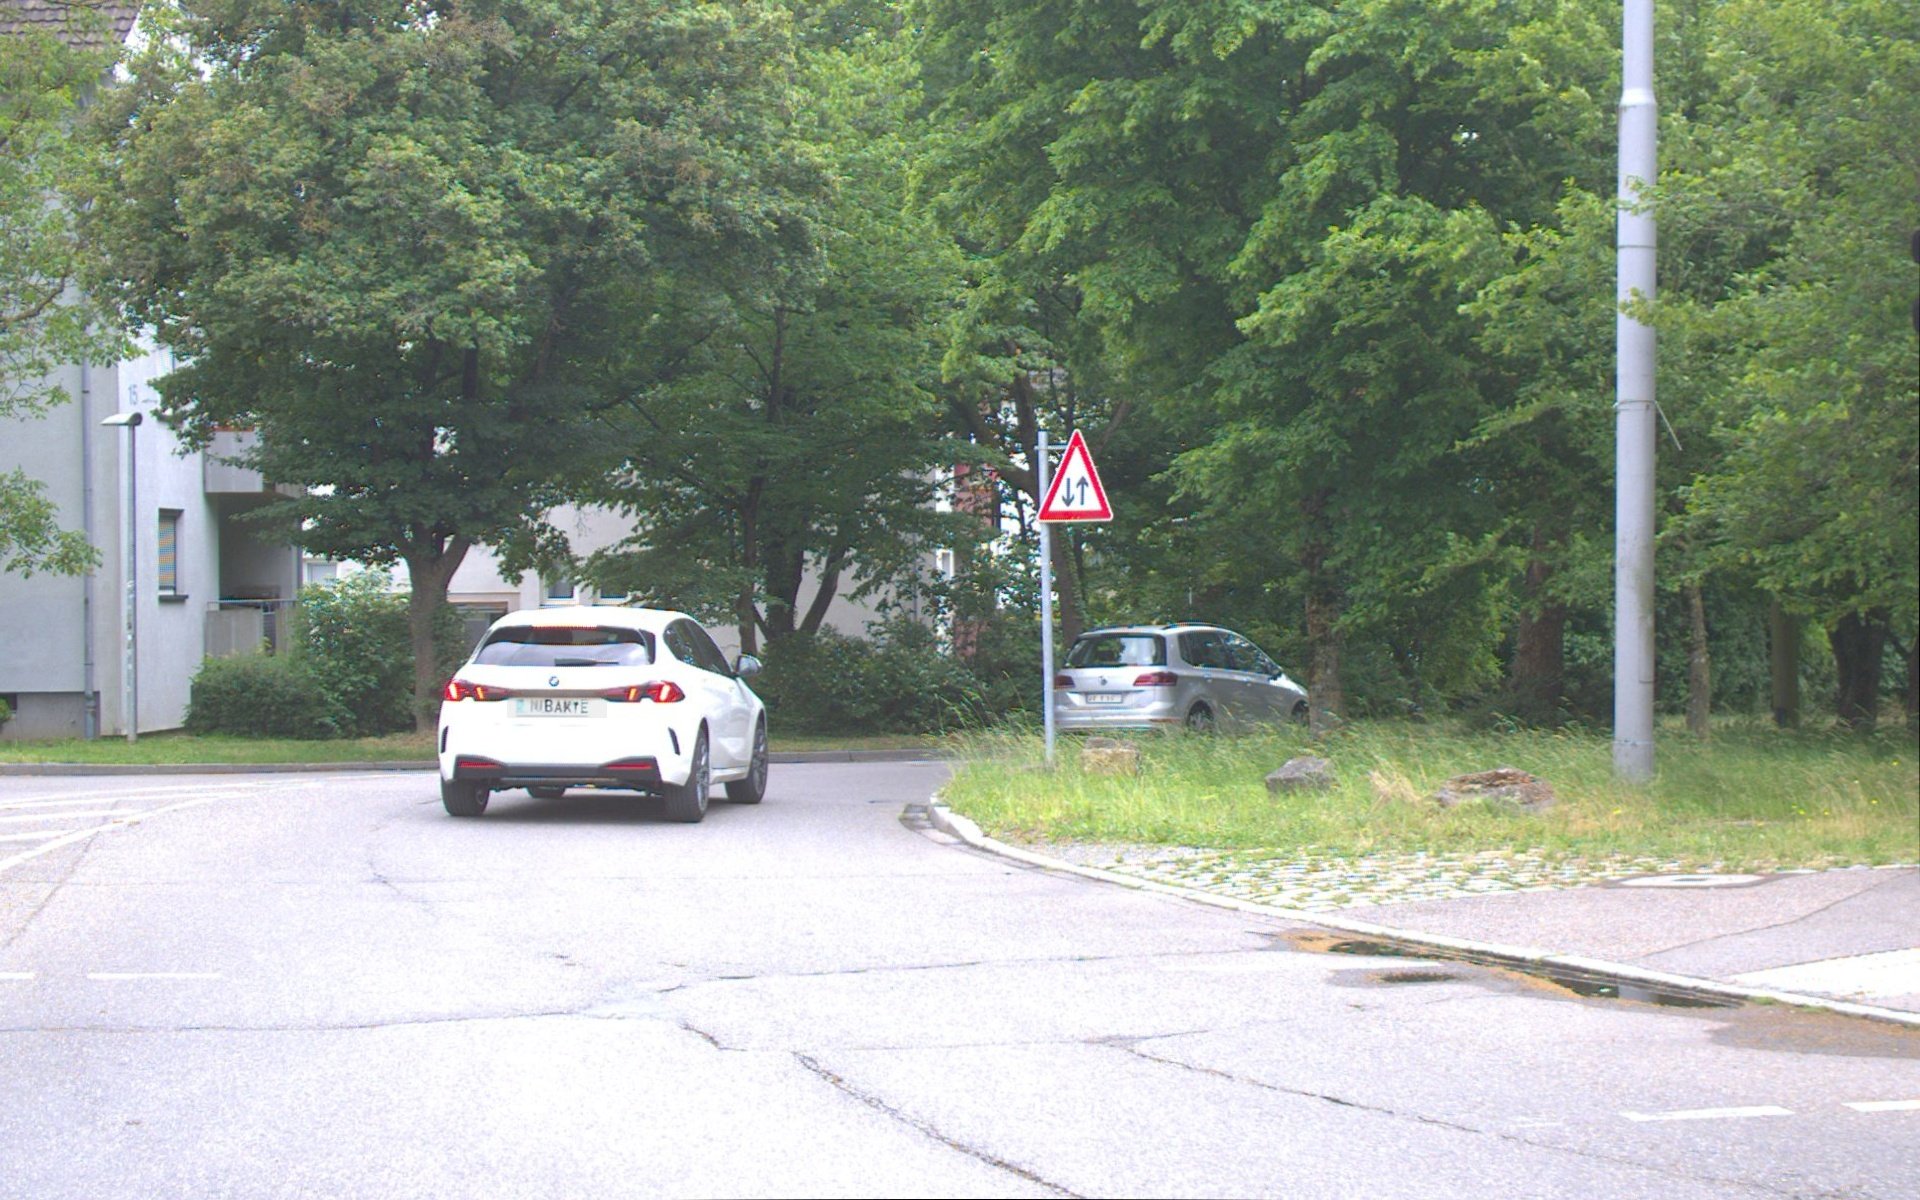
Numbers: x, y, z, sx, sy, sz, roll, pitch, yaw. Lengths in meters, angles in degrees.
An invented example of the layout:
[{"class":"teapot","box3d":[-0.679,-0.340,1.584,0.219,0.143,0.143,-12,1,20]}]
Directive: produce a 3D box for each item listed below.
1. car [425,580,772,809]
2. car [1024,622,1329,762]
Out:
[{"class":"car","box3d":[-2.529,0.703,25.043,1.796,1.512,4.206,1,-2,4]},{"class":"car","box3d":[2.604,1.093,40.567,1.926,1.569,3.992,-1,-2,32]}]
